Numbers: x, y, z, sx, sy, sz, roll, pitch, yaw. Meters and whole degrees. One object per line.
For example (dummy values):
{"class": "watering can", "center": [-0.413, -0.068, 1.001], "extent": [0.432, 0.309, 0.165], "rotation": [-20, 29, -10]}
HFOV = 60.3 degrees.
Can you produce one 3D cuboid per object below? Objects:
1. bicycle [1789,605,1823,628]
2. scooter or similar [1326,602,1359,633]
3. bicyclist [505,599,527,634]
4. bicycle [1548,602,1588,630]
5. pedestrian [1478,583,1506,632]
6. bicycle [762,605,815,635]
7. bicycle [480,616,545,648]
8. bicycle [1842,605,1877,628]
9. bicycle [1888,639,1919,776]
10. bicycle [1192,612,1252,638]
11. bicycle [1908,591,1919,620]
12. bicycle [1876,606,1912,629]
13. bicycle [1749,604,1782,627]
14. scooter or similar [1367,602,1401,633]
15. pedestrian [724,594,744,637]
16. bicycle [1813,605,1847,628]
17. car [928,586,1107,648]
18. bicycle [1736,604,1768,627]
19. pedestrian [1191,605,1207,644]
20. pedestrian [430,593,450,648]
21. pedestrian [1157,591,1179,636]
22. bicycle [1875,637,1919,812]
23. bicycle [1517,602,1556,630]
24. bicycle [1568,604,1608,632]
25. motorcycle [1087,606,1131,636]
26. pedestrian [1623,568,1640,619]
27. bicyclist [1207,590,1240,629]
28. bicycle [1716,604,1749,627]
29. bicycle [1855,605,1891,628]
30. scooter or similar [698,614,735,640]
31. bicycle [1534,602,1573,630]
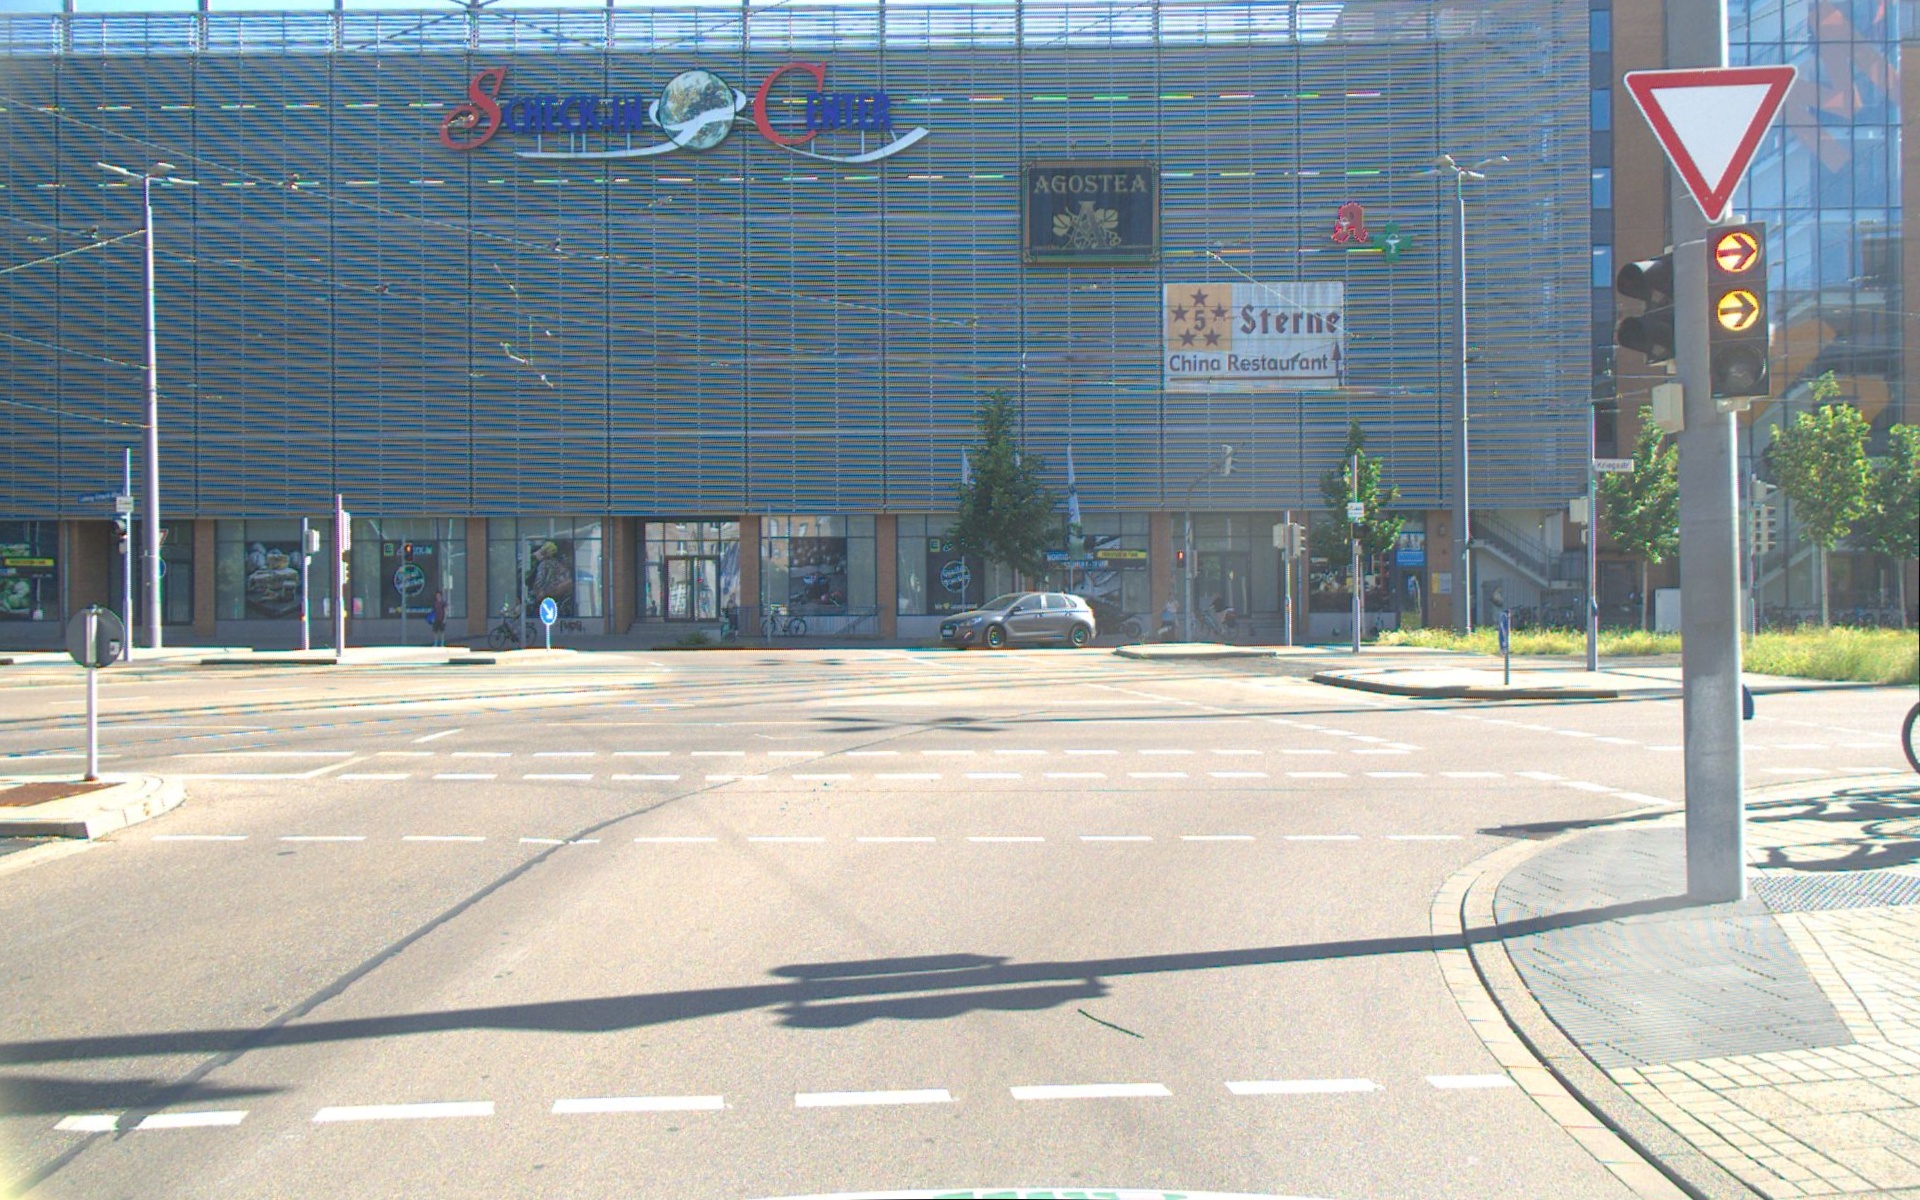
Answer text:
{"class": "bicycle", "center": [32.211, 0.616, 62.962], "extent": [0.435, 0.833, 1.449], "rotation": [0, 1, -6]}
{"class": "scooter or similar", "center": [14.305, 0.644, 61.867], "extent": [1.177, 1.122, 0.277], "rotation": [1, -1, 1]}
{"class": "bicyclist", "center": [-14.645, 0.536, 54.526], "extent": [0.557, 1.159, 0.553], "rotation": [0, 0, -34]}
{"class": "bicycle", "center": [22.537, 0.576, 61.358], "extent": [0.482, 0.971, 2.178], "rotation": [0, 1, -6]}
{"class": "pedestrian", "center": [19.106, 0.267, 59.400], "extent": [0.763, 1.714, 0.595], "rotation": [0, 0, -14]}
{"class": "bicycle", "center": [-6.274, 0.728, 60.475], "extent": [1.907, 1.056, 0.572], "rotation": [0, 0, -5]}
{"class": "bicycle", "center": [-14.720, 1.050, 54.460], "extent": [1.997, 1.003, 0.553], "rotation": [0, 0, -34]}
{"class": "bicycle", "center": [34.333, 0.643, 63.147], "extent": [0.435, 0.833, 1.449], "rotation": [0, 1, -6]}
{"class": "bicycle", "center": [7.782, 0.817, 12.230], "extent": [0.593, 1.056, 1.893], "rotation": [-1, -1, -6]}
{"class": "bicycle", "center": [9.258, 0.882, 58.488], "extent": [2.000, 0.882, 0.682], "rotation": [0, 0, -2]}
{"class": "bicycle", "center": [39.144, 0.227, 66.394], "extent": [0.736, 1.143, 2.178], "rotation": [0, 1, -6]}
{"class": "bicycle", "center": [35.752, 0.658, 63.314], "extent": [0.435, 0.833, 1.449], "rotation": [0, 1, -6]}
{"class": "bicycle", "center": [30.869, 0.579, 63.367], "extent": [0.435, 0.833, 1.449], "rotation": [0, 1, -6]}
{"class": "scooter or similar", "center": [15.899, 0.653, 62.048], "extent": [1.177, 1.122, 0.277], "rotation": [1, -1, 1]}
{"class": "pedestrian", "center": [-8.163, 0.544, 59.720], "extent": [0.633, 1.545, 0.491], "rotation": [0, 0, 4]}
{"class": "bicycle", "center": [33.085, 0.620, 62.919], "extent": [0.435, 0.833, 1.449], "rotation": [0, 1, -6]}
{"class": "car", "center": [1.499, 0.427, 42.974], "extent": [4.247, 1.526, 1.982], "rotation": [0, 0, -28]}
{"class": "bicycle", "center": [30.289, 0.588, 63.276], "extent": [0.435, 0.833, 1.449], "rotation": [0, 1, -6]}
{"class": "pedestrian", "center": [7.912, 0.807, 54.721], "extent": [0.389, 1.250, 0.447], "rotation": [0, 0, 33]}
{"class": "pedestrian", "center": [-17.205, 0.672, 54.746], "extent": [0.614, 1.782, 0.586], "rotation": [0, 0, -19]}
{"class": "pedestrian", "center": [6.998, 0.466, 55.701], "extent": [0.723, 1.513, 0.490], "rotation": [0, 0, 9]}
{"class": "bicycle", "center": [6.535, 0.781, 10.140], "extent": [0.680, 1.124, 2.011], "rotation": [-1, -2, -1]}
{"class": "bicycle", "center": [21.342, 0.578, 61.259], "extent": [0.482, 0.971, 2.178], "rotation": [0, 1, -6]}
{"class": "bicycle", "center": [23.355, 0.656, 61.556], "extent": [0.482, 0.971, 2.178], "rotation": [0, 1, -6]}
{"class": "motorcycle", "center": [5.450, 0.765, 60.684], "extent": [1.581, 1.056, 0.402], "rotation": [0, 0, 0]}
{"class": "pedestrian", "center": [25.922, -0.247, 63.871], "extent": [0.528, 1.948, 0.374], "rotation": [1, -1, 7]}
{"class": "bicyclist", "center": [9.315, 0.338, 58.496], "extent": [1.015, 1.341, 0.682], "rotation": [0, 0, -2]}
{"class": "bicycle", "center": [29.401, 0.567, 62.960], "extent": [0.435, 0.833, 1.449], "rotation": [0, 1, -6]}
{"class": "bicycle", "center": [34.895, 0.643, 63.222], "extent": [0.435, 0.833, 1.449], "rotation": [0, 1, -6]}
{"class": "scooter or similar", "center": [-8.272, 0.928, 56.189], "extent": [1.198, 0.866, 0.301], "rotation": [0, 0, -4]}
{"class": "bicycle", "center": [21.976, 0.586, 61.306], "extent": [0.482, 0.971, 2.178], "rotation": [0, 1, -6]}
